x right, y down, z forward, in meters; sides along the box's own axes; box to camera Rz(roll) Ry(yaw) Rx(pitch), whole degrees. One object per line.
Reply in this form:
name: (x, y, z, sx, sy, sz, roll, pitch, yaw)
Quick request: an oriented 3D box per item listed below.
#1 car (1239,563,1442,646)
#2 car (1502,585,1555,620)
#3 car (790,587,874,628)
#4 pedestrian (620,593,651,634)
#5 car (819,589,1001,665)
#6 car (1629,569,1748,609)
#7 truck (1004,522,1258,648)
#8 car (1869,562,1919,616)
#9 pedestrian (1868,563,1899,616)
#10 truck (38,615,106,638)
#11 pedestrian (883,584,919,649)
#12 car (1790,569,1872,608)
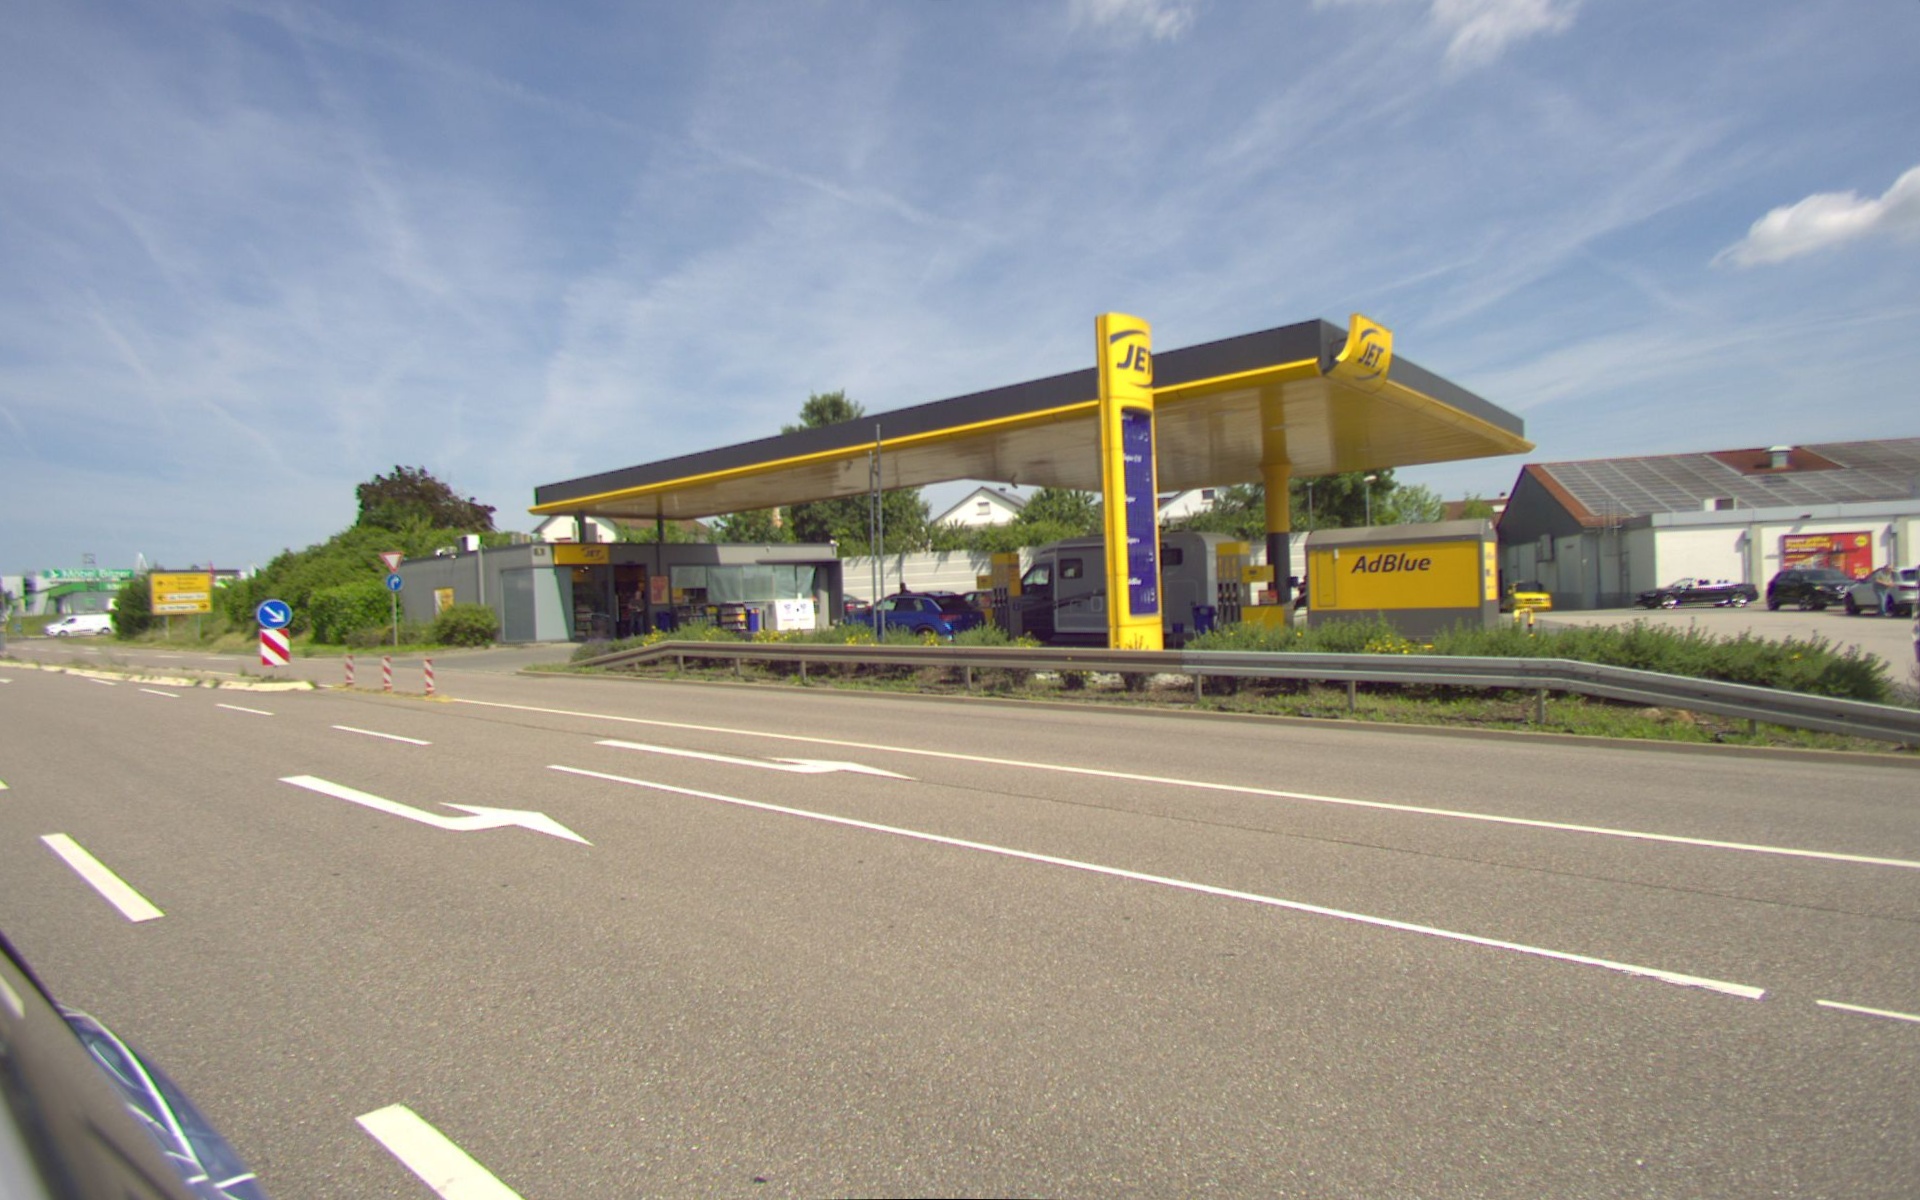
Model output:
car: (8.655, 0.167, 23.246, 4.001, 1.741, 1.713, -2, -3, 44)
car: (31.561, 0.121, 56.289, 1.987, 1.823, 4.355, -2, 0, 22)
car: (-5.879, 0.319, 46.241, 3.987, 1.747, 1.598, 0, 1, 42)
pedestrian: (-11.532, 0.462, 35.955, 0.900, 1.438, 0.495, -1, 0, -36)
car: (-1.289, 0.683, 25.076, 4.258, 1.719, 1.975, -2, -1, 38)
car: (32.029, -0.476, 44.594, 3.846, 1.625, 1.742, -2, -1, 19)
truck: (4.336, -0.326, 26.520, 6.279, 2.944, 2.222, -1, 0, 40)
car: (29.908, -0.378, 31.504, 1.765, 1.551, 3.955, -3, 0, 33)
pedestrian: (28.037, -0.317, 30.728, 0.512, 1.564, 0.503, -1, 0, 16)
truck: (-86.159, 2.555, 98.256, 1.998, 2.024, 4.712, -2, 0, 39)
pedestrian: (-1.715, 0.473, 29.600, 0.639, 1.852, 0.788, -2, 0, 42)
car: (32.012, -0.442, 37.295, 1.713, 1.320, 3.955, -2, 1, 33)
